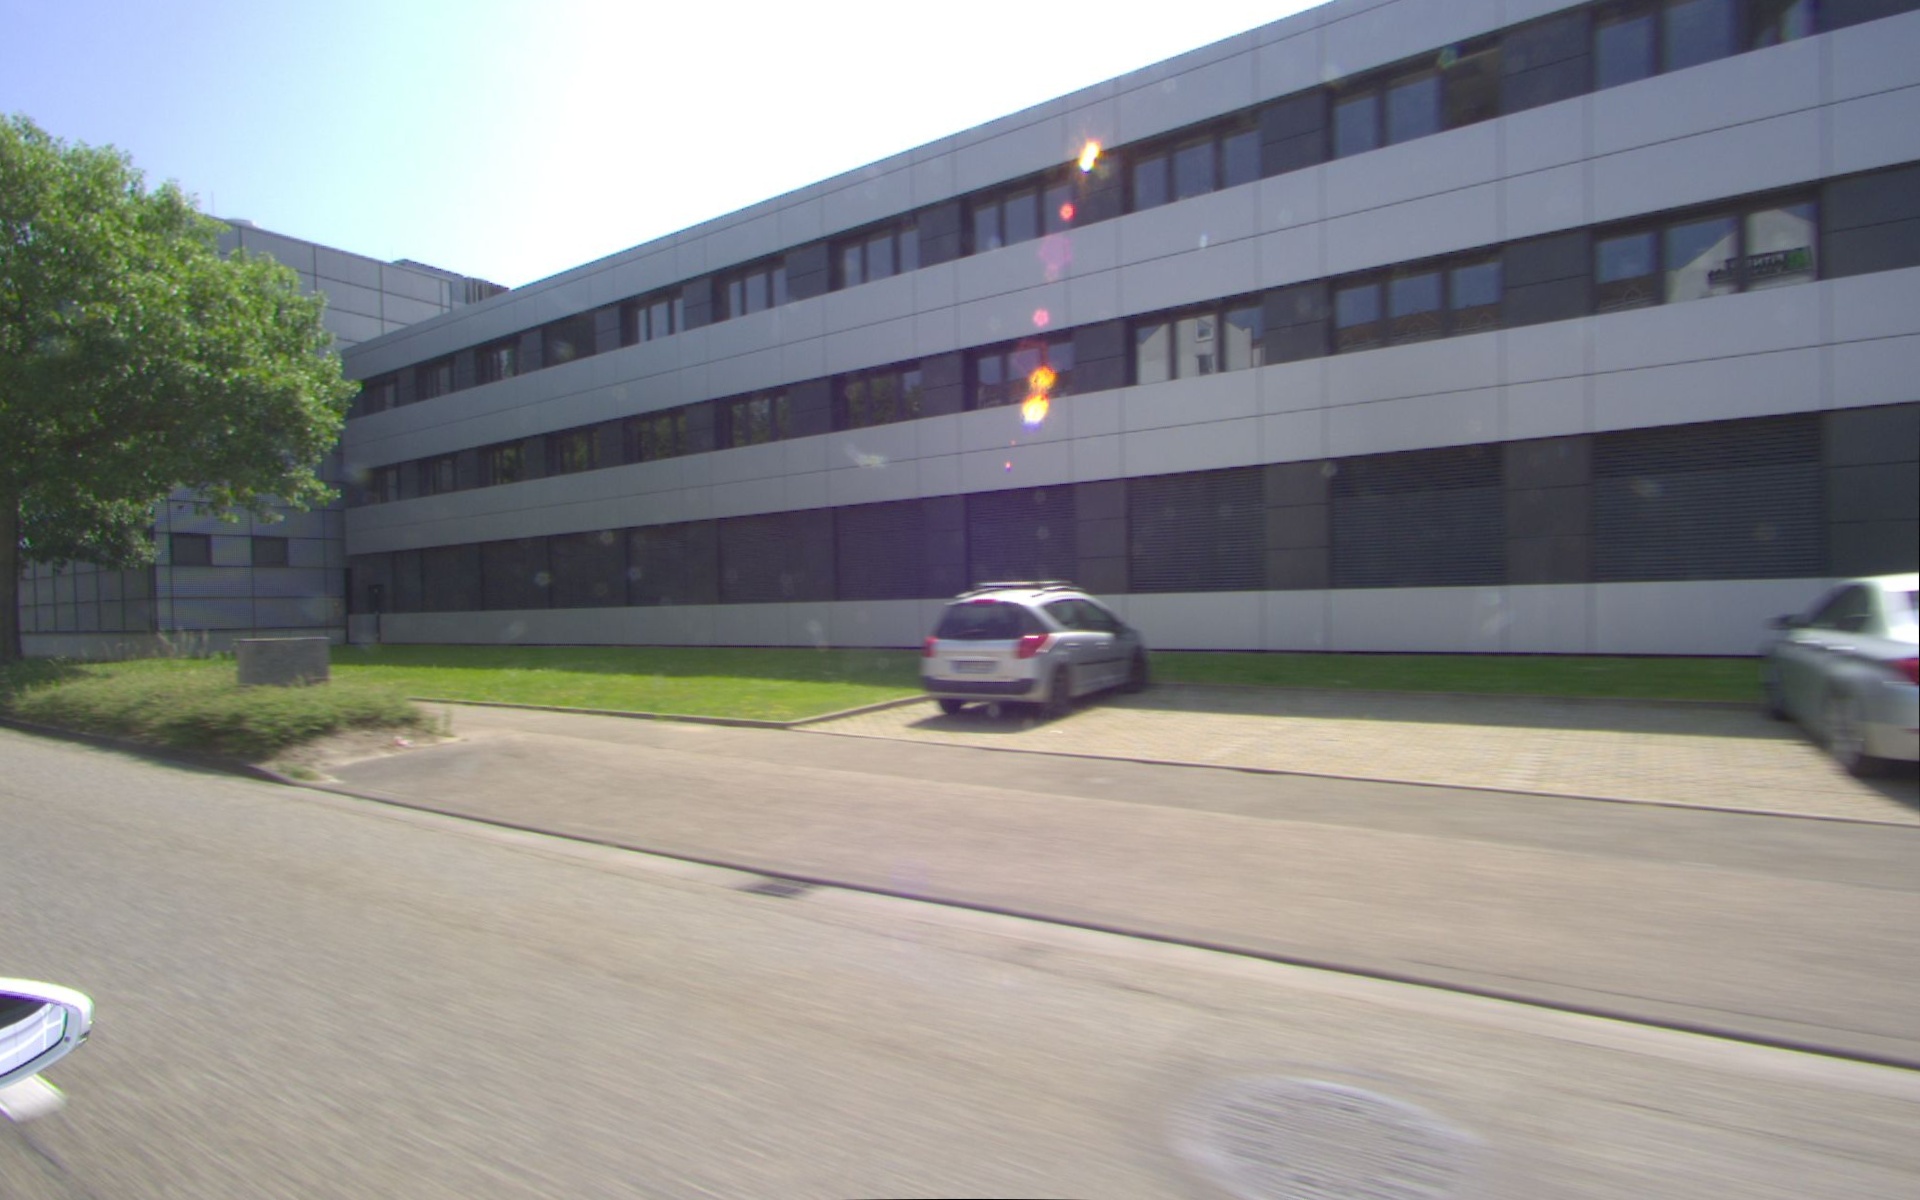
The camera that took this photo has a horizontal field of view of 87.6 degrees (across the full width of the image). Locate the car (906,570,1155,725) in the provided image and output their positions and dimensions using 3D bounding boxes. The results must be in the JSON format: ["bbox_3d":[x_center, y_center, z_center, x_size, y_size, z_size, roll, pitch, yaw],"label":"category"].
[{"bbox_3d":[1.076,0.497,13.168,1.707,1.614,3.803,-1,3,31],"label":"car"}]

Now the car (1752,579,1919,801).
[{"bbox_3d":[7.966,0.539,7.987,1.971,1.409,4.604,0,1,31],"label":"car"}]
